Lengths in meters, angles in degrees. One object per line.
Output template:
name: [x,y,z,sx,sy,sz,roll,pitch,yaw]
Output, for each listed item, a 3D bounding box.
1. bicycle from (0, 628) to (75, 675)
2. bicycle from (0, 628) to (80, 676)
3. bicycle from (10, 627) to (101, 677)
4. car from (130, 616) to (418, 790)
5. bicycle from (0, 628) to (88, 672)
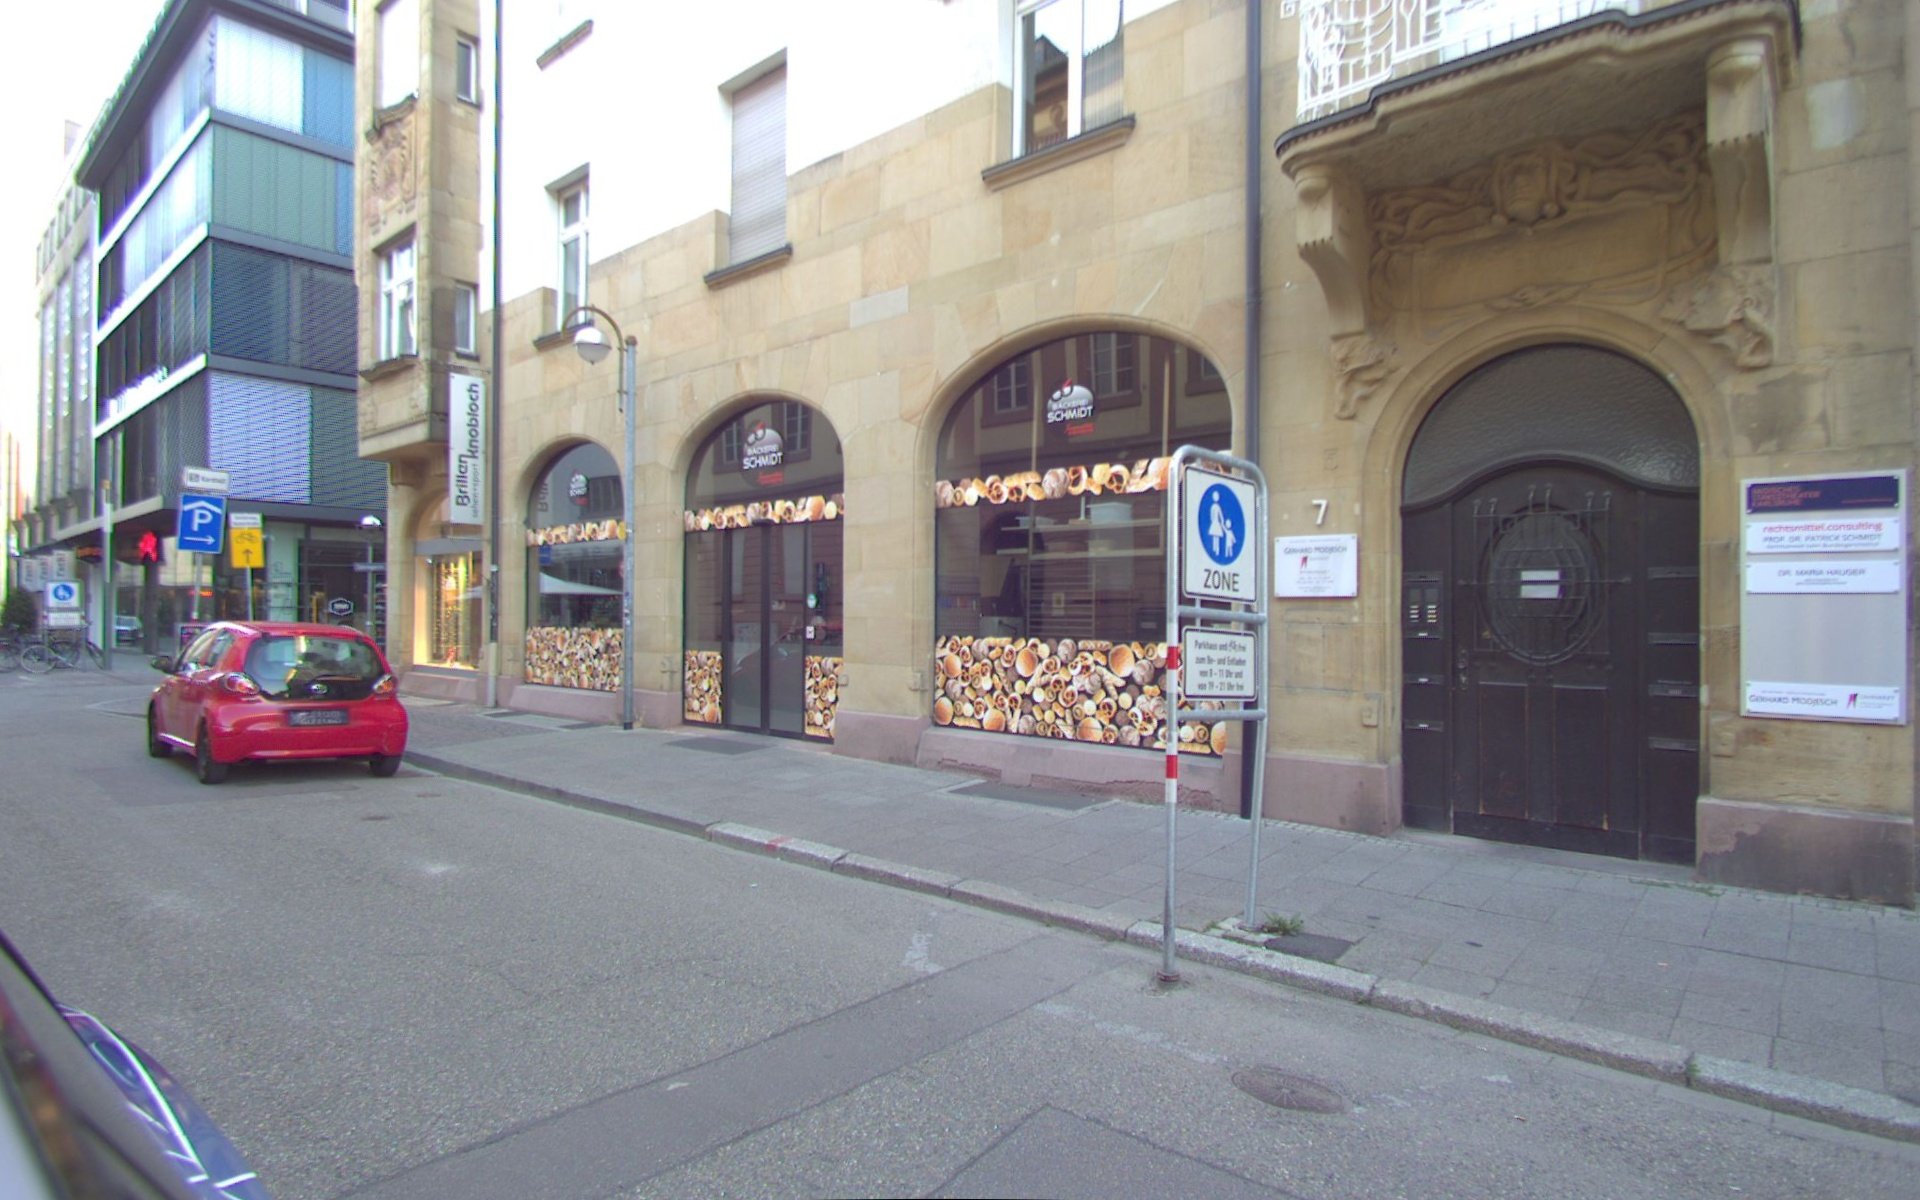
bicycle: [-23.715,1.288,25.612,0.620,1.139,1.927,-1,-1,42]
bicycle: [-23.053,1.281,24.993,0.620,1.139,1.927,-1,-1,42]
bicycle: [-21.713,1.235,24.318,0.620,1.127,1.586,-1,-1,42]
car: [-6.943,0.942,10.155,3.156,1.452,1.615,-1,-5,42]
bicycle: [-24.736,1.324,27.183,0.526,1.139,1.927,-1,-1,42]
